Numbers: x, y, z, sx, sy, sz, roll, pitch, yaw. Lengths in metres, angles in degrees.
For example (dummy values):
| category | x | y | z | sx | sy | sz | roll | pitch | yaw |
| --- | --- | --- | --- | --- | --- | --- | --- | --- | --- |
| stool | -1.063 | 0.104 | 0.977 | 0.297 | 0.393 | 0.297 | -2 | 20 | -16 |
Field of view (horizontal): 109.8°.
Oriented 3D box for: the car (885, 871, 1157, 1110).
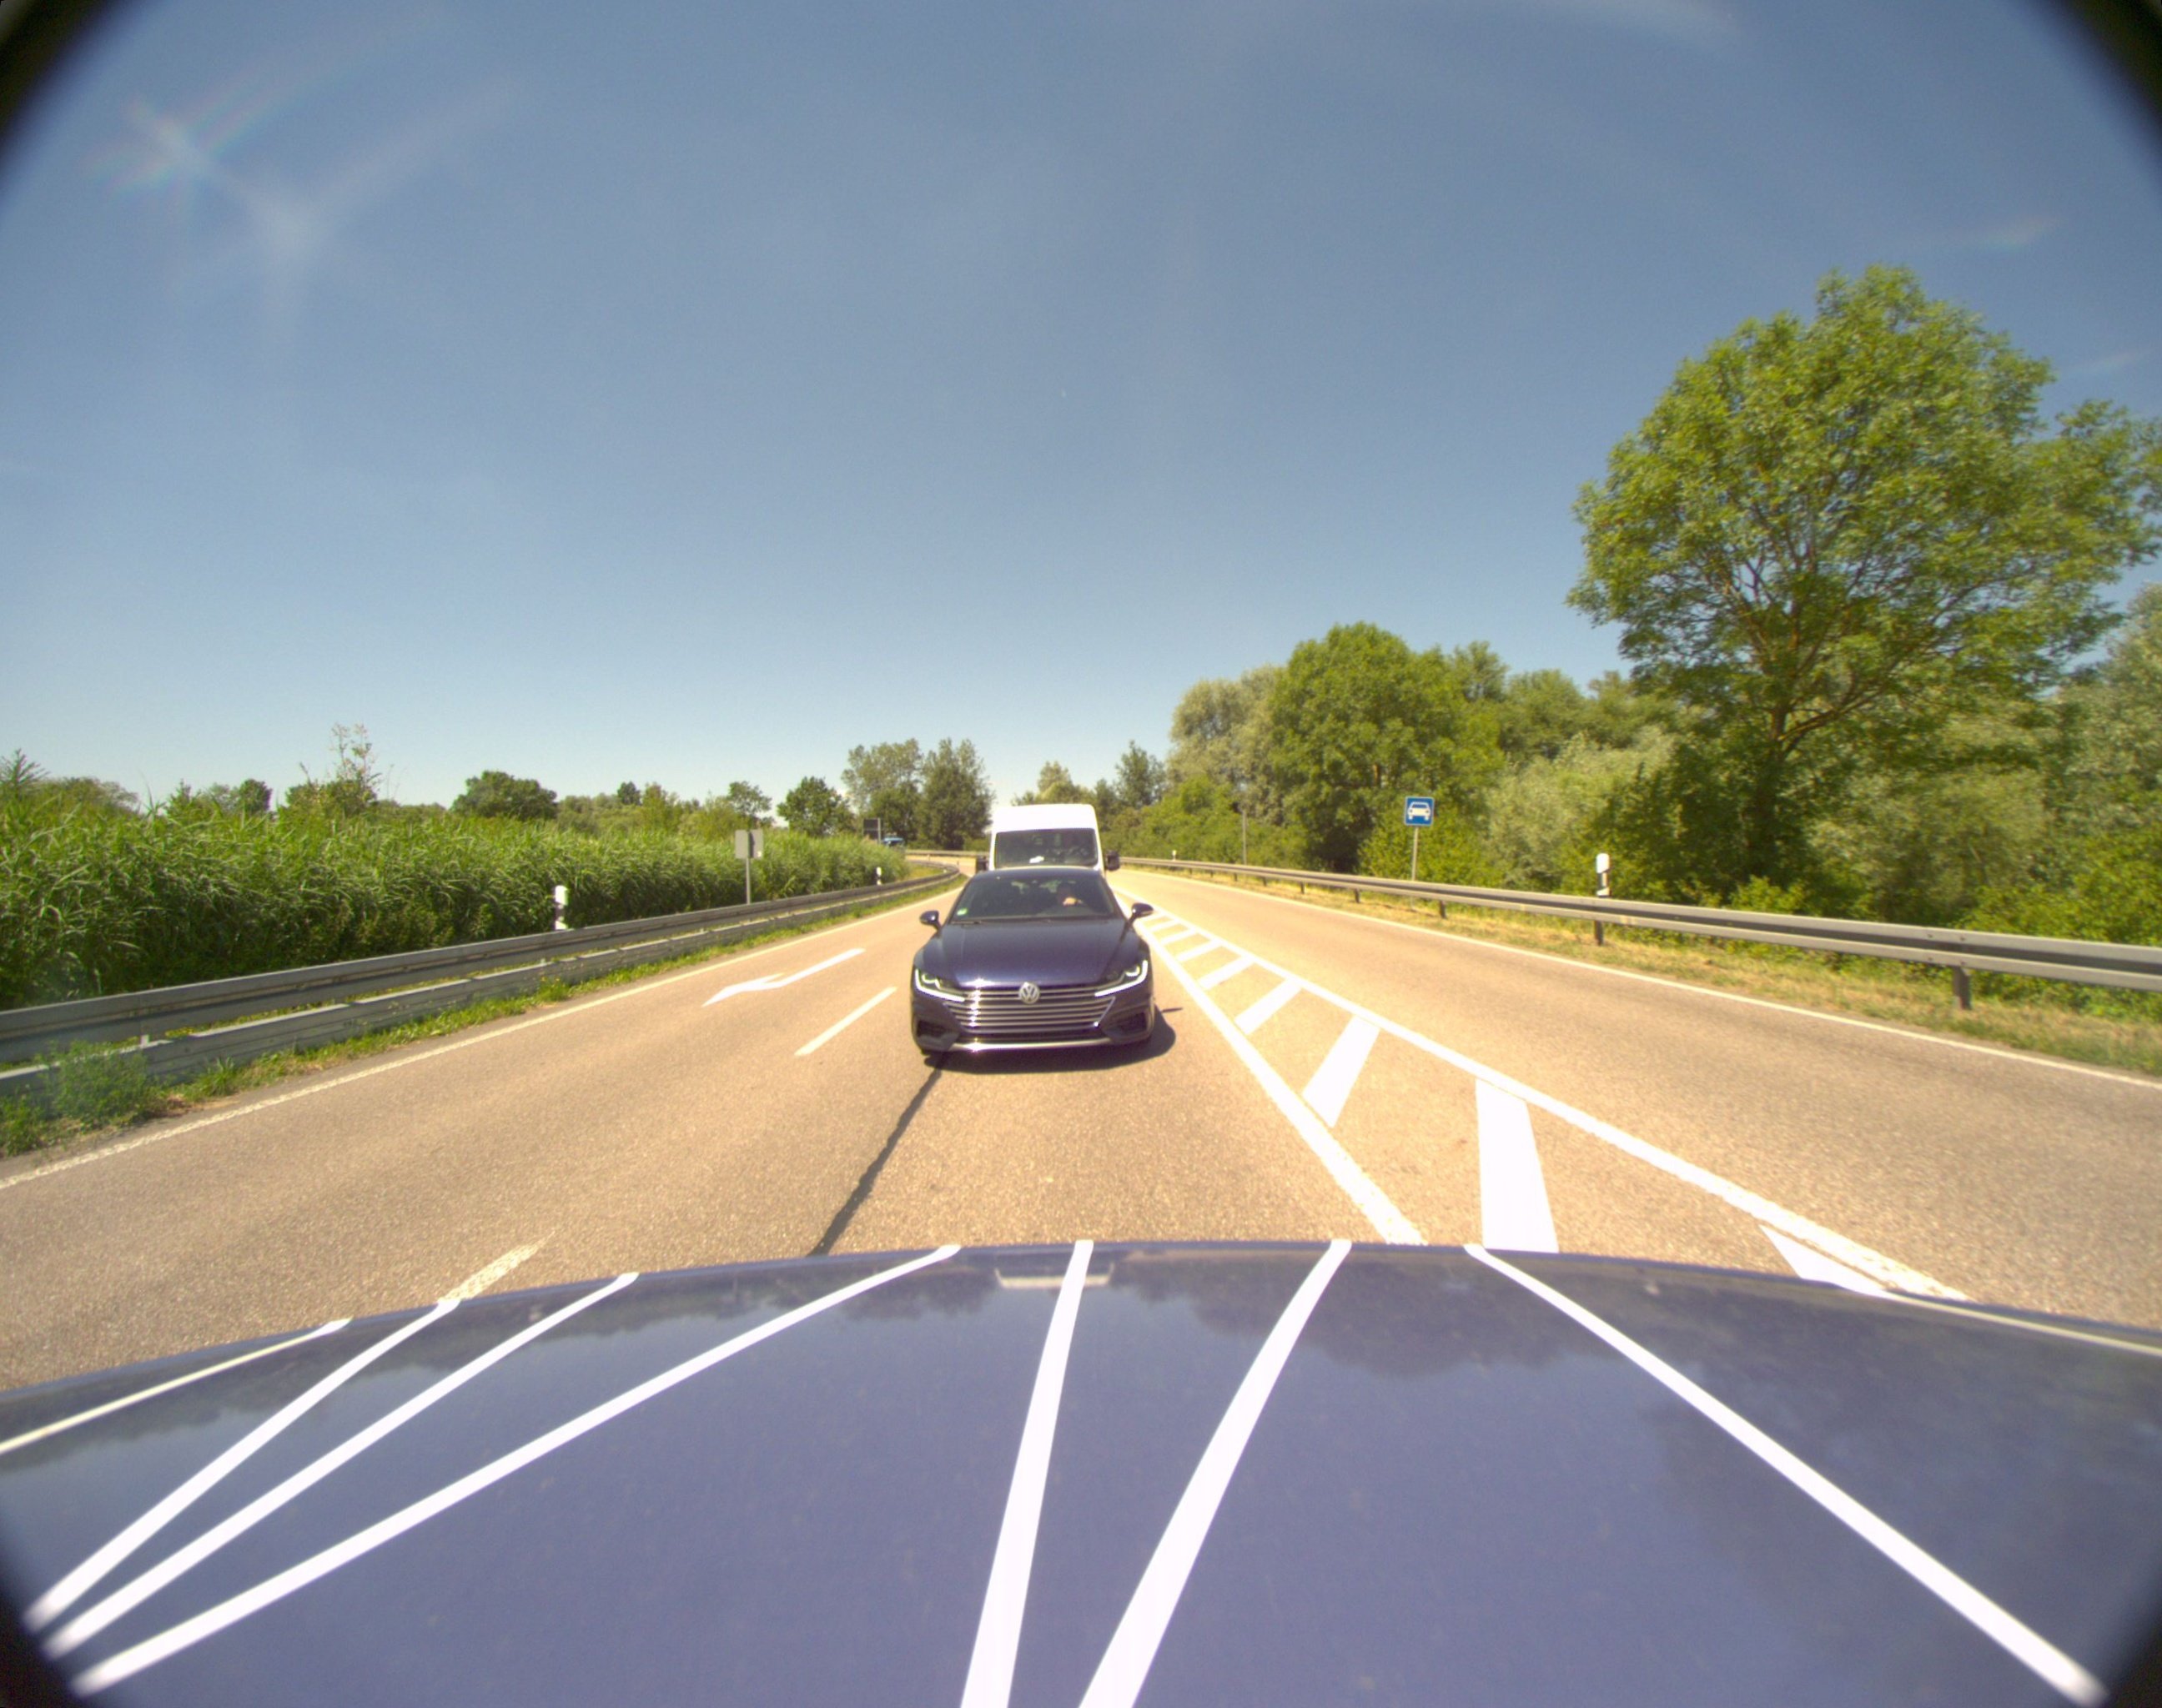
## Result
| category | x | y | z | sx | sy | sz | roll | pitch | yaw |
| --- | --- | --- | --- | --- | --- | --- | --- | --- | --- |
| car | -0.388 | 0.951 | 7.051 | 1.761 | 1.401 | 3.999 | -2 | 1 | 0 |

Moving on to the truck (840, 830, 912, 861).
| category | x | y | z | sx | sy | sz | roll | pitch | yaw |
| --- | --- | --- | --- | --- | --- | --- | --- | --- | --- |
| truck | -22.185 | -0.841 | 81.928 | 9.054 | 3.052 | 2.583 | -1 | 1 | 39 |

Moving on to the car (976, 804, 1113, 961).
| category | x | y | z | sx | sy | sz | roll | pitch | yaw |
| --- | --- | --- | --- | --- | --- | --- | --- | --- | --- |
| car | -0.559 | 0.415 | 14.798 | 2.059 | 2.376 | 5.826 | -2 | 1 | 0 |
